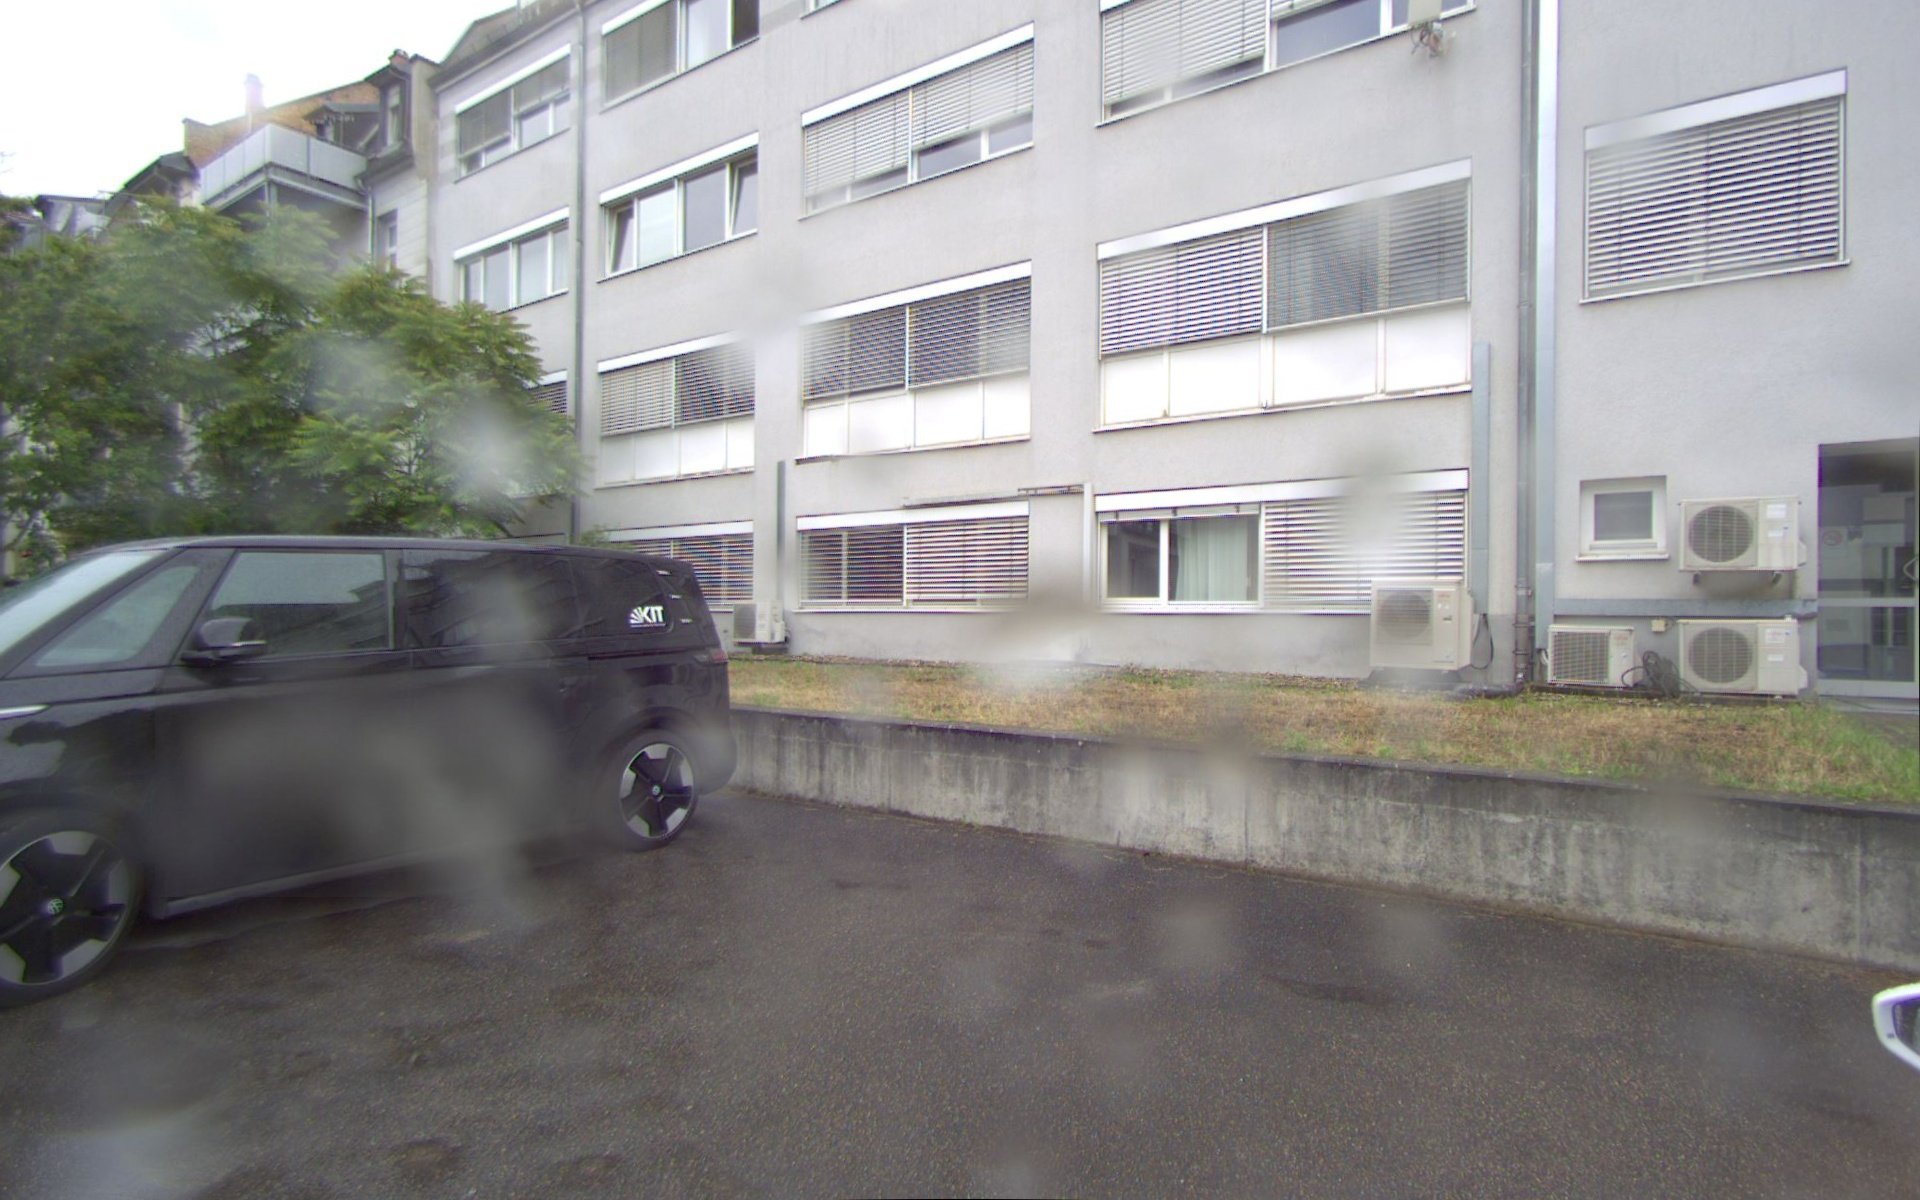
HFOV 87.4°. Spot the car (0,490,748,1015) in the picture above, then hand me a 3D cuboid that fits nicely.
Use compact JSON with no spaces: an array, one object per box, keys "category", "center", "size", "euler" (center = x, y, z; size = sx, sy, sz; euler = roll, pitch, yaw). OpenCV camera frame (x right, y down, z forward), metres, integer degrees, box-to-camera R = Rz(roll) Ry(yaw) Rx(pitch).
[{"category":"car","center":[-3.513,0.599,5.532],"size":[2.012,1.922,4.510],"euler":[-1,-1,33]}]
